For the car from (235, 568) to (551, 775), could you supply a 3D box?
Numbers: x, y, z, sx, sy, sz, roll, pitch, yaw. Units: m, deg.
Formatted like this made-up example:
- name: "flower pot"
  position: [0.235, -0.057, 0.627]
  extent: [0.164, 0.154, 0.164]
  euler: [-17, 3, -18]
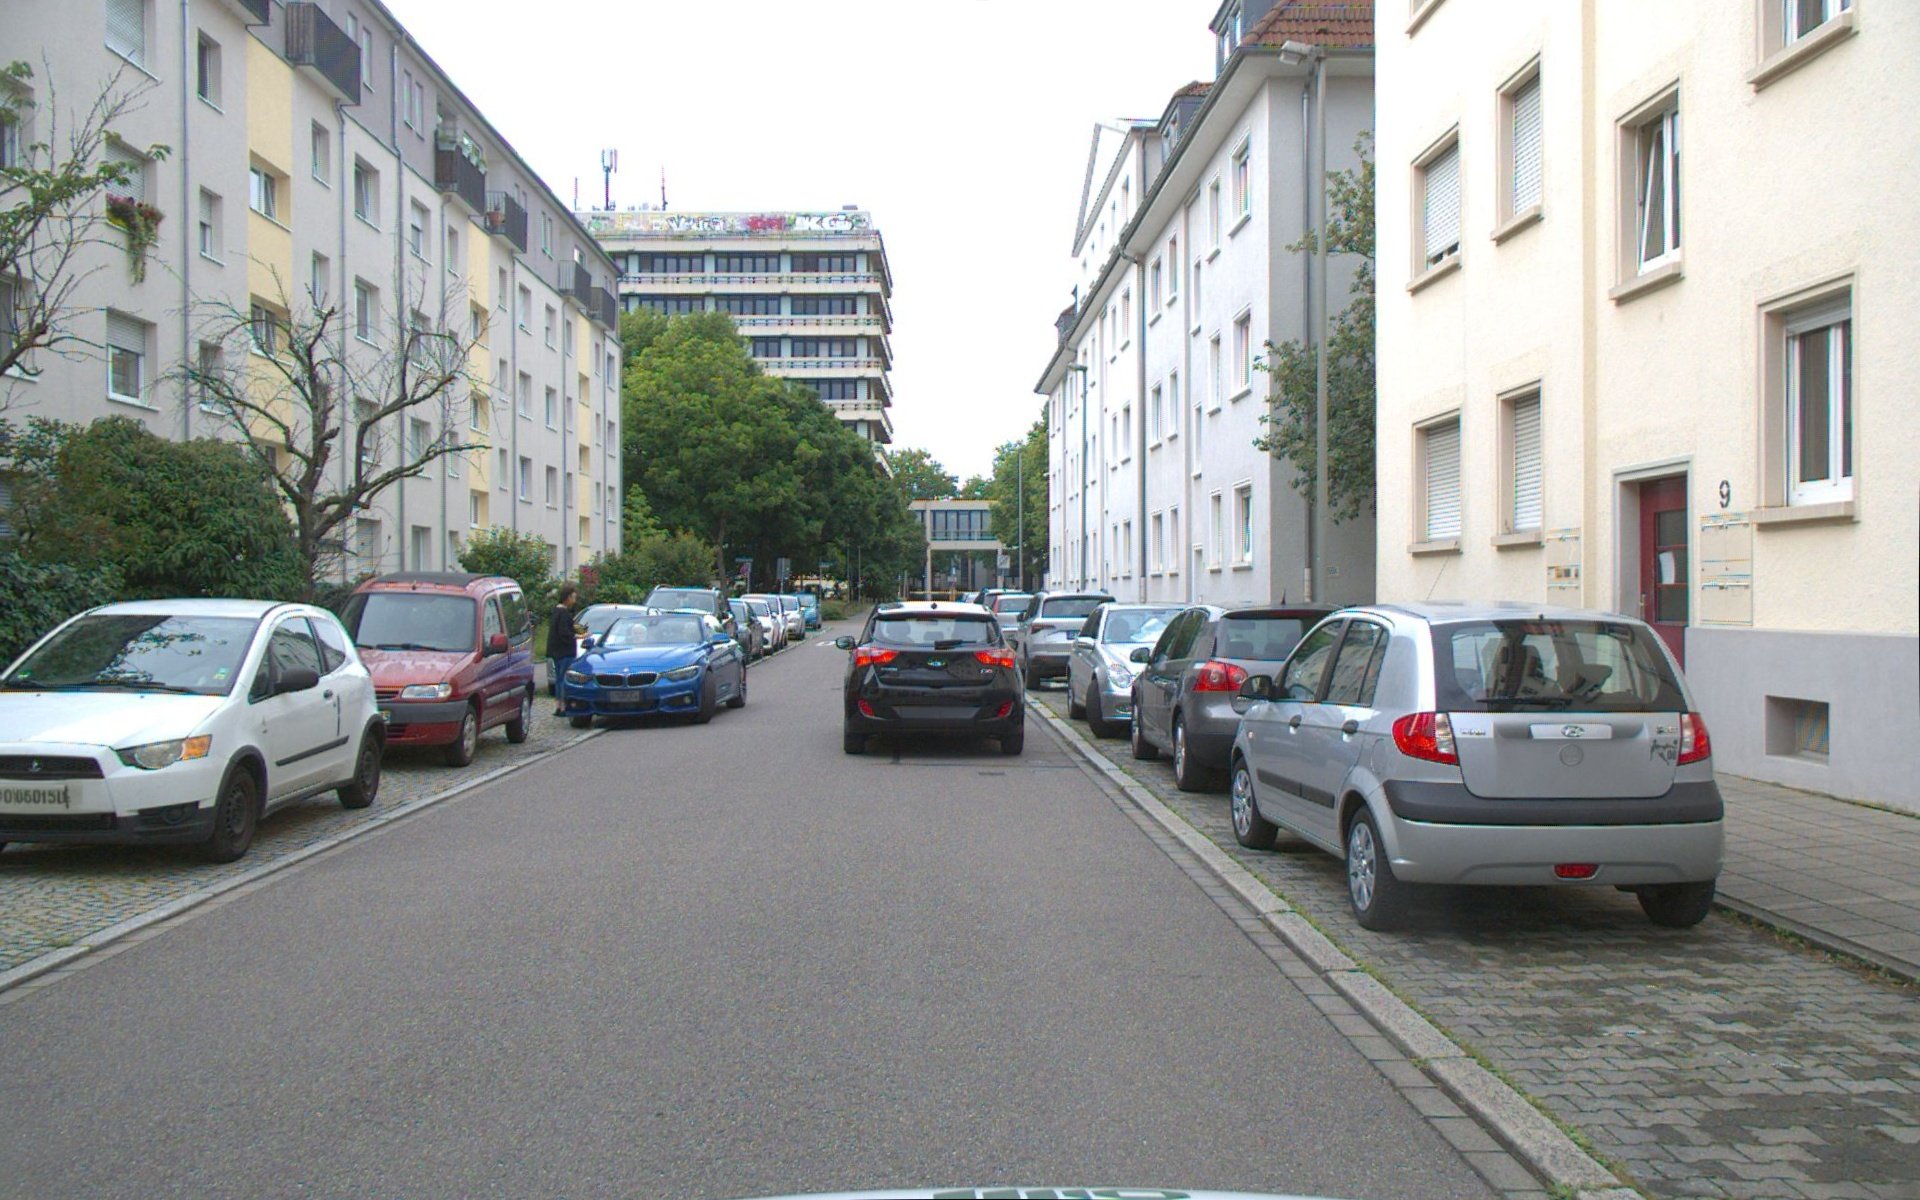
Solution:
- name: "car"
  position: [-5.491, 0.621, 16.649]
  extent: [1.918, 1.801, 4.358]
  euler: [1, 0, -4]

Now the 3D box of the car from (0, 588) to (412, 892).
- name: "car"
  position: [-5.044, 0.748, 10.827]
  extent: [1.686, 1.597, 3.869]
  euler: [2, 0, -2]

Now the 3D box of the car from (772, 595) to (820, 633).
- name: "car"
  position: [-7.108, 0.578, 72.082]
  extent: [1.954, 1.568, 3.997]
  euler: [1, 0, -4]

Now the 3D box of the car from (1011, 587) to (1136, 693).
- name: "car"
  position: [1.862, 0.620, 28.186]
  extent: [1.783, 1.671, 4.090]
  euler: [0, 0, -1]

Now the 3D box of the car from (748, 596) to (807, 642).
- name: "car"
  position: [-6.554, 0.649, 59.779]
  extent: [1.954, 1.568, 3.997]
  euler: [1, 0, -4]

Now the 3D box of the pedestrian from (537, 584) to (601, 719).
- name: "pedestrian"
  position: [-5.198, 0.668, 21.962]
  extent: [0.729, 1.731, 0.792]
  euler: [-1, 0, -19]

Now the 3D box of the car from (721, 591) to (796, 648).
- name: "car"
  position: [-6.217, 0.566, 51.480]
  extent: [1.857, 1.626, 4.519]
  euler: [2, 0, -2]

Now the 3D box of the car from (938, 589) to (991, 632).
- name: "car"
  position: [0.133, 0.364, 62.139]
  extent: [1.784, 1.546, 4.671]
  euler: [0, 0, -2]

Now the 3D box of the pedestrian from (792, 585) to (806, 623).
- name: "pedestrian"
  position: [-7.898, 0.195, 81.196]
  extent: [0.592, 1.863, 0.675]
  euler: [0, 0, 0]

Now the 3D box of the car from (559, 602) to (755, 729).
- name: "car"
  position: [-3.903, 0.785, 22.010]
  extent: [1.807, 1.476, 4.500]
  euler: [0, 0, -1]

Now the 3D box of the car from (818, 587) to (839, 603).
- name: "car"
  position: [-11.398, -0.449, 143.612]
  extent: [1.632, 1.356, 3.394]
  euler: [0, 1, -2]

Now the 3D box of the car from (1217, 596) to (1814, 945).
- name: "car"
  position: [2.676, 0.723, 8.970]
  extent: [1.812, 1.475, 3.831]
  euler: [0, 0, -3]

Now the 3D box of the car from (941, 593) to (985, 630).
- name: "car"
  position: [0.095, 0.484, 72.748]
  extent: [1.784, 1.546, 4.671]
  euler: [0, 0, -2]

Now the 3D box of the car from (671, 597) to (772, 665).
- name: "car"
  position: [-5.695, 0.711, 40.025]
  extent: [1.857, 1.477, 4.665]
  euler: [2, 0, -2]

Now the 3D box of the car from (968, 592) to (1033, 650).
- name: "car"
  position: [1.157, 0.588, 49.012]
  extent: [1.783, 1.631, 4.090]
  euler: [0, 0, -1]

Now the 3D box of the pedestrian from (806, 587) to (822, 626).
- name: "pedestrian"
  position: [-7.133, 0.310, 81.013]
  extent: [0.699, 1.863, 0.797]
  euler: [0, 0, 0]

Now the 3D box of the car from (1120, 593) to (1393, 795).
- name: "car"
  position: [2.421, 0.702, 14.369]
  extent: [1.570, 1.502, 3.868]
  euler: [1, 0, -2]

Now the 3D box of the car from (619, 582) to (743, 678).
- name: "car"
  position: [-5.623, 0.565, 33.854]
  extent: [1.857, 1.770, 4.473]
  euler: [2, 0, -2]

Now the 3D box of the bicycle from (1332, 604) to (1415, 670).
- name: "bicycle"
  position: [6.934, 0.616, 27.746]
  extent: [1.266, 1.081, 0.497]
  euler: [0, 0, 0]

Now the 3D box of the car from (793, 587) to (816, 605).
- name: "car"
  position: [-12.220, -0.327, 130.146]
  extent: [1.632, 1.356, 3.394]
  euler: [0, 1, -2]

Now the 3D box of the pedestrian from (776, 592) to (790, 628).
- name: "pedestrian"
  position: [-8.647, 0.487, 80.870]
  extent: [0.588, 1.743, 0.648]
  euler: [0, 0, 0]

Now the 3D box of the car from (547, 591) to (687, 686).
- name: "car"
  position: [-5.787, 0.601, 28.301]
  extent: [1.709, 1.490, 3.784]
  euler: [-1, 0, -2]

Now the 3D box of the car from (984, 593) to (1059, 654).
- name: "car"
  position: [1.604, 0.595, 44.254]
  extent: [1.783, 1.529, 4.090]
  euler: [0, 0, -1]

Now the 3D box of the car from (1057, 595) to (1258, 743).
- name: "car"
  position: [2.170, 0.706, 19.300]
  extent: [1.690, 1.502, 4.503]
  euler: [0, 0, -1]

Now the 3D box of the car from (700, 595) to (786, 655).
- name: "car"
  position: [-5.891, 0.644, 45.366]
  extent: [1.857, 1.477, 4.519]
  euler: [2, 0, -2]

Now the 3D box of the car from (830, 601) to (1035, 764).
- name: "car"
  position: [-0.289, 0.761, 17.297]
  extent: [1.864, 1.458, 4.232]
  euler: [-1, 0, -1]
